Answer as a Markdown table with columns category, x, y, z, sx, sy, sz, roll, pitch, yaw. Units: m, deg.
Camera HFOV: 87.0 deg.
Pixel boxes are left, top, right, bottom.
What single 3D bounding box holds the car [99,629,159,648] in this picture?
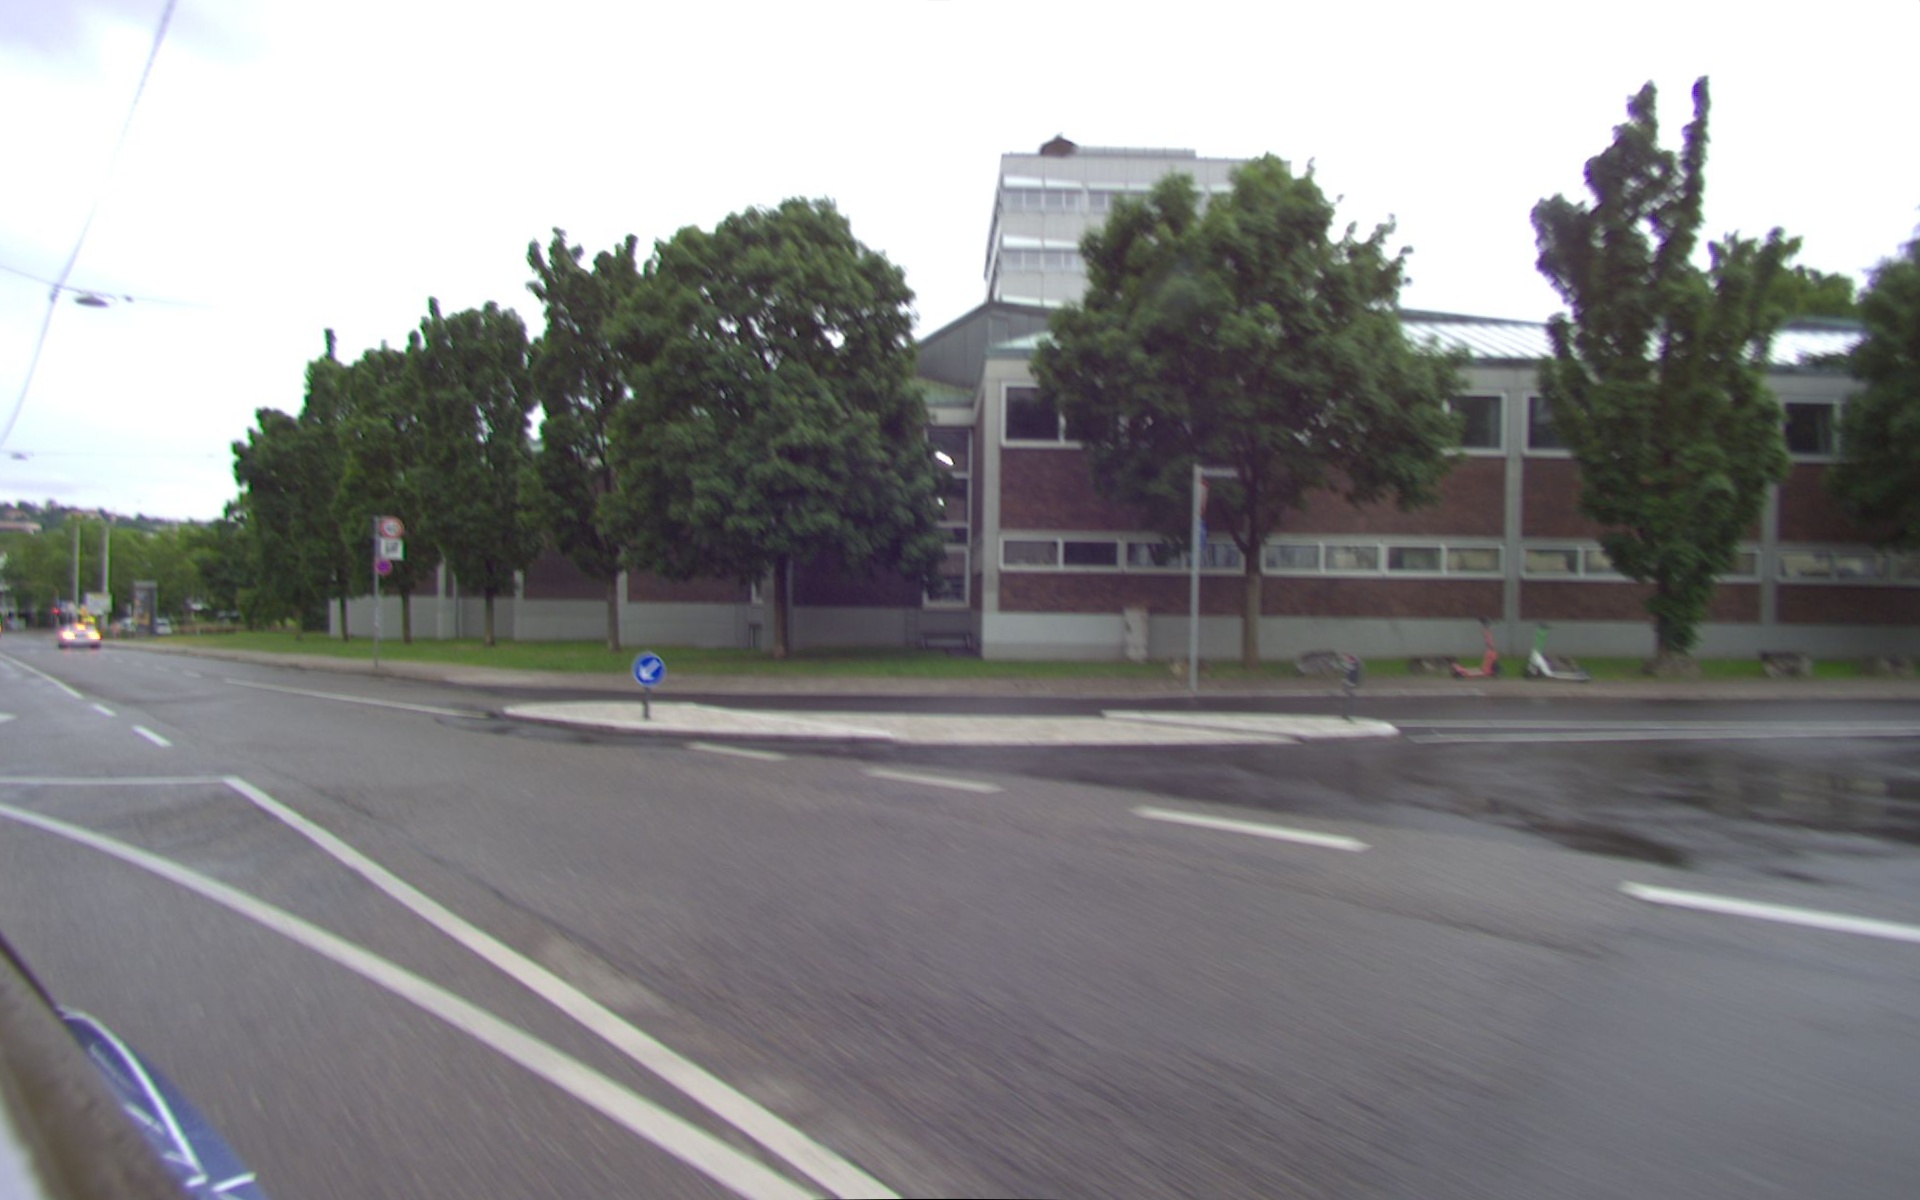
| category | x | y | z | sx | sy | sz | roll | pitch | yaw |
| --- | --- | --- | --- | --- | --- | --- | --- | --- | --- |
| car | -89.137 | 4.103 | 108.535 | 4.653 | 1.768 | 2.018 | -2 | 0 | -4 |

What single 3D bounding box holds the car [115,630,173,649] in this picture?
| category | x | y | z | sx | sy | sz | roll | pitch | yaw |
| --- | --- | --- | --- | --- | --- | --- | --- | --- | --- |
| car | -77.589 | 3.740 | 96.245 | 4.478 | 1.621 | 1.862 | -2 | 0 | 11 |

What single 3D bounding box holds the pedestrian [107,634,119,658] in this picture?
| category | x | y | z | sx | sy | sz | roll | pitch | yaw |
| --- | --- | --- | --- | --- | --- | --- | --- | --- | --- |
| pedestrian | -63.170 | 3.420 | 75.479 | 0.661 | 1.699 | 0.915 | -1 | 0 | -39 |

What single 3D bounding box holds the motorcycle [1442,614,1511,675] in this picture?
| category | x | y | z | sx | sy | sz | roll | pitch | yaw |
| --- | --- | --- | --- | --- | --- | --- | --- | --- | --- |
| motorcycle | 10.471 | 0.894 | 20.537 | 1.208 | 1.194 | 0.414 | -1 | 0 | -8 |

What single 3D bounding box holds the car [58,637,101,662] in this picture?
| category | x | y | z | sx | sy | sz | roll | pitch | yaw |
| --- | --- | --- | --- | --- | --- | --- | --- | --- | --- |
| car | -55.815 | 3.101 | 64.115 | 1.859 | 1.502 | 5.224 | 2 | -3 | -43 |

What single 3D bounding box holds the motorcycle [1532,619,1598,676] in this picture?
| category | x | y | z | sx | sy | sz | roll | pitch | yaw |
| --- | --- | --- | --- | --- | --- | --- | --- | --- | --- |
| motorcycle | 12.364 | 0.968 | 20.681 | 1.151 | 1.133 | 0.414 | 0 | 0 | -8 |
